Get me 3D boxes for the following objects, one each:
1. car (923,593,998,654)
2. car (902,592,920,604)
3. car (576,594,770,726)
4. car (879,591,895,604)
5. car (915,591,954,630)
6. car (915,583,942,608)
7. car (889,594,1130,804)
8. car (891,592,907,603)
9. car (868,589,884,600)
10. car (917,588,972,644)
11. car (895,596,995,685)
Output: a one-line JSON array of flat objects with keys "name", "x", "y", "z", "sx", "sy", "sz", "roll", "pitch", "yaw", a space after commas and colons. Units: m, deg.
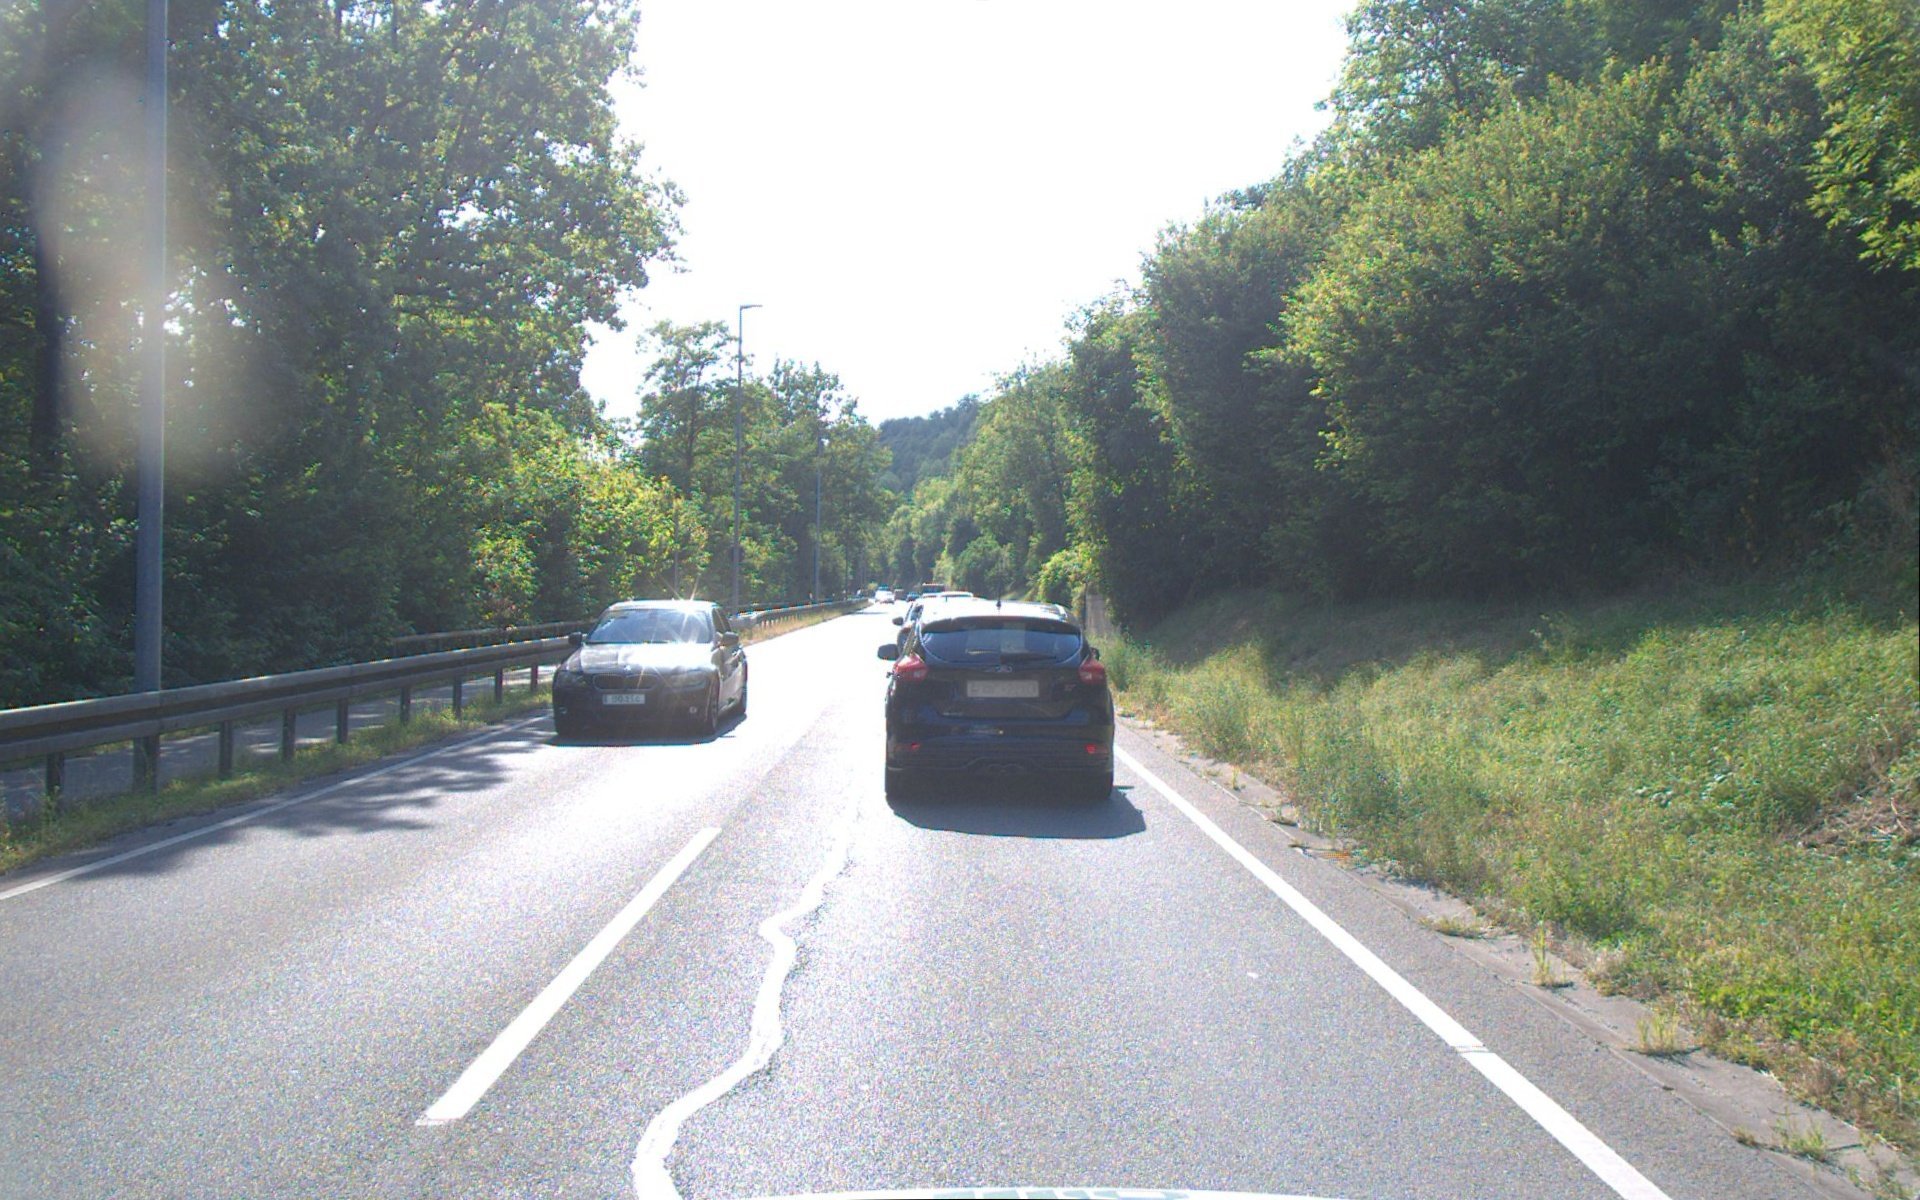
[{"name": "car", "x": -0.017, "y": 0.546, "z": 40.691, "sx": 1.768, "sy": 1.416, "sz": 3.999, "roll": 0, "pitch": 0, "yaw": -1}, {"name": "car", "x": -6.469, "y": -0.257, "z": 216.603, "sx": 1.956, "sy": 1.545, "sz": 3.993, "roll": 0, "pitch": 0, "yaw": -8}, {"name": "car", "x": -3.421, "y": 0.658, "z": 20.426, "sx": 1.657, "sy": 1.445, "sz": 4.142, "roll": 0, "pitch": 0, "yaw": 0}, {"name": "car", "x": -8.216, "y": -0.304, "z": 186.407, "sx": 1.590, "sy": 1.401, "sz": 4.046, "roll": -2, "pitch": 0, "yaw": -1}, {"name": "car", "x": -1.099, "y": 0.416, "z": 71.141, "sx": 1.597, "sy": 1.624, "sz": 3.999, "roll": 0, "pitch": 0, "yaw": -1}, {"name": "car", "x": -2.305, "y": -0.352, "z": 120.622, "sx": 1.826, "sy": 1.812, "sz": 3.997, "roll": 0, "pitch": 0, "yaw": -4}, {"name": "car", "x": 0.324, "y": 0.707, "z": 13.754, "sx": 1.704, "sy": 1.482, "sz": 3.999, "roll": 0, "pitch": 0, "yaw": -1}, {"name": "car", "x": -8.727, "y": -0.335, "z": 237.386, "sx": 1.956, "sy": 1.545, "sz": 3.993, "roll": 0, "pitch": 0, "yaw": -8}, {"name": "car", "x": -11.469, "y": -0.726, "z": 225.032, "sx": 1.651, "sy": 1.489, "sz": 4.188, "roll": 0, "pitch": 0, "yaw": -10}, {"name": "car", "x": -0.483, "y": 0.458, "z": 50.744, "sx": 1.597, "sy": 1.624, "sz": 3.999, "roll": 0, "pitch": 0, "yaw": -1}, {"name": "car", "x": -0.231, "y": 0.657, "z": 28.975, "sx": 1.627, "sy": 1.443, "sz": 4.000, "roll": 0, "pitch": 0, "yaw": 0}]
